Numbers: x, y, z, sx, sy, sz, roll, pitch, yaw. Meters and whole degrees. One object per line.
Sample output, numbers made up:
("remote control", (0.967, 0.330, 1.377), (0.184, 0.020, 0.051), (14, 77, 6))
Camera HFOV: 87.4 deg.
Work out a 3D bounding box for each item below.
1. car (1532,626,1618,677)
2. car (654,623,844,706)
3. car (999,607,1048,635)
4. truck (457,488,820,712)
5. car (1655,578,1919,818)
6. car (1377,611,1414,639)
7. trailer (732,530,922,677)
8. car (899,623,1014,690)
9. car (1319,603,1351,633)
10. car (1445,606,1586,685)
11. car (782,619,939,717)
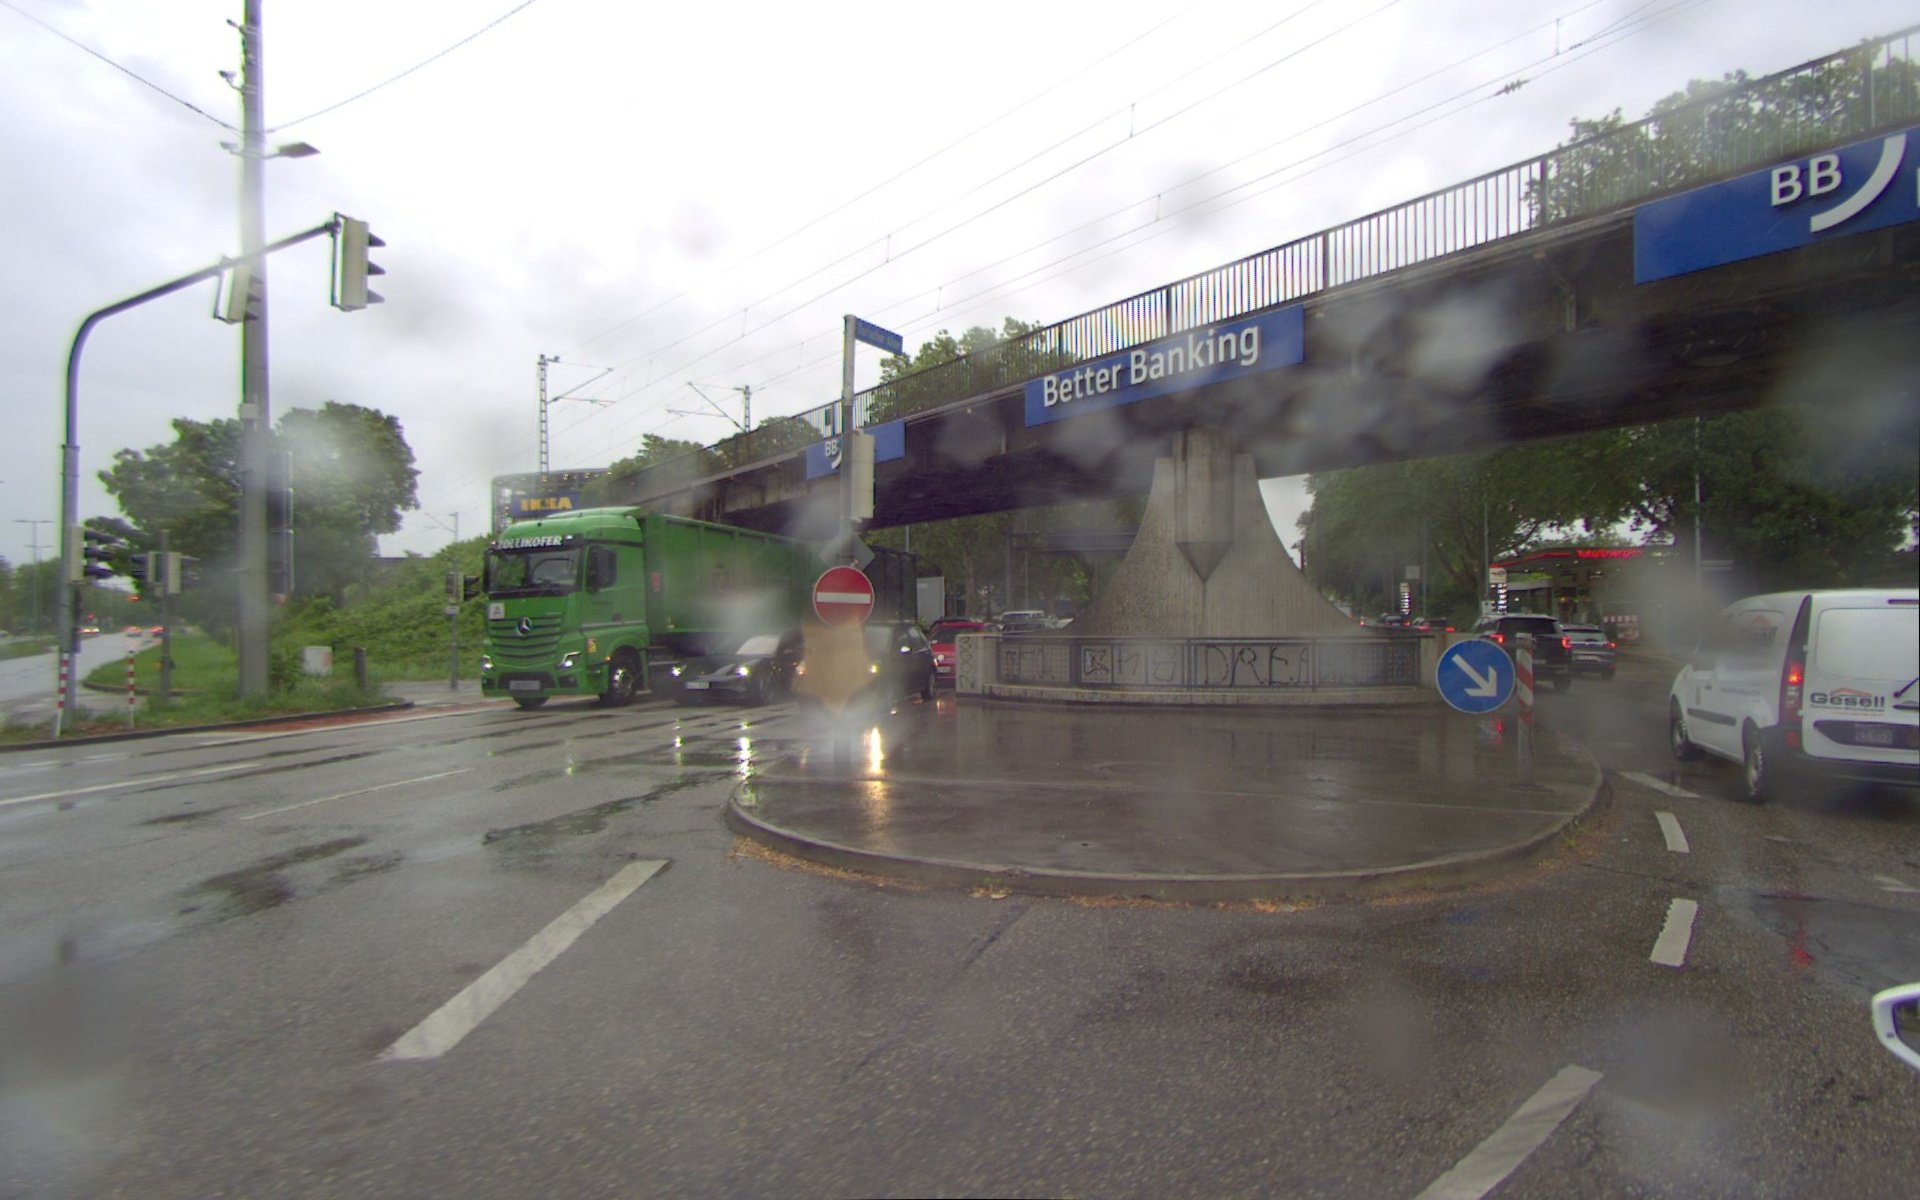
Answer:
("car", (17.084, 1.410, 28.036), (1.654, 1.300, 3.255), (-1, -1, 25))
("car", (-4.193, 1.239, 20.850), (1.711, 1.505, 4.686), (-1, -1, 19))
("car", (3.582, 1.170, 56.350), (1.792, 1.490, 4.001), (-1, -1, 18))
("truck", (-6.619, 0.102, 23.184), (2.634, 4.001, 10.198), (-1, -1, 17))
("car", (7.939, 0.763, 9.381), (1.728, 1.801, 3.997), (0, -1, 25))
("car", (28.579, 1.620, 65.940), (1.853, 1.795, 4.001), (0, -1, 18))
("trailer", (-3.910, 0.168, 32.096), (2.636, 4.039, 8.522), (-1, -1, 18))
("car", (0.024, 1.296, 24.193), (1.784, 1.471, 4.002), (-1, -1, 15))
("car", (27.718, 1.365, 74.344), (2.014, 2.168, 4.001), (0, -1, 18))
("car", (12.504, 0.991, 22.887), (1.885, 1.630, 4.002), (-1, -1, 15))
("car", (-1.682, 1.148, 18.349), (1.626, 1.566, 4.002), (-1, -1, 13))
